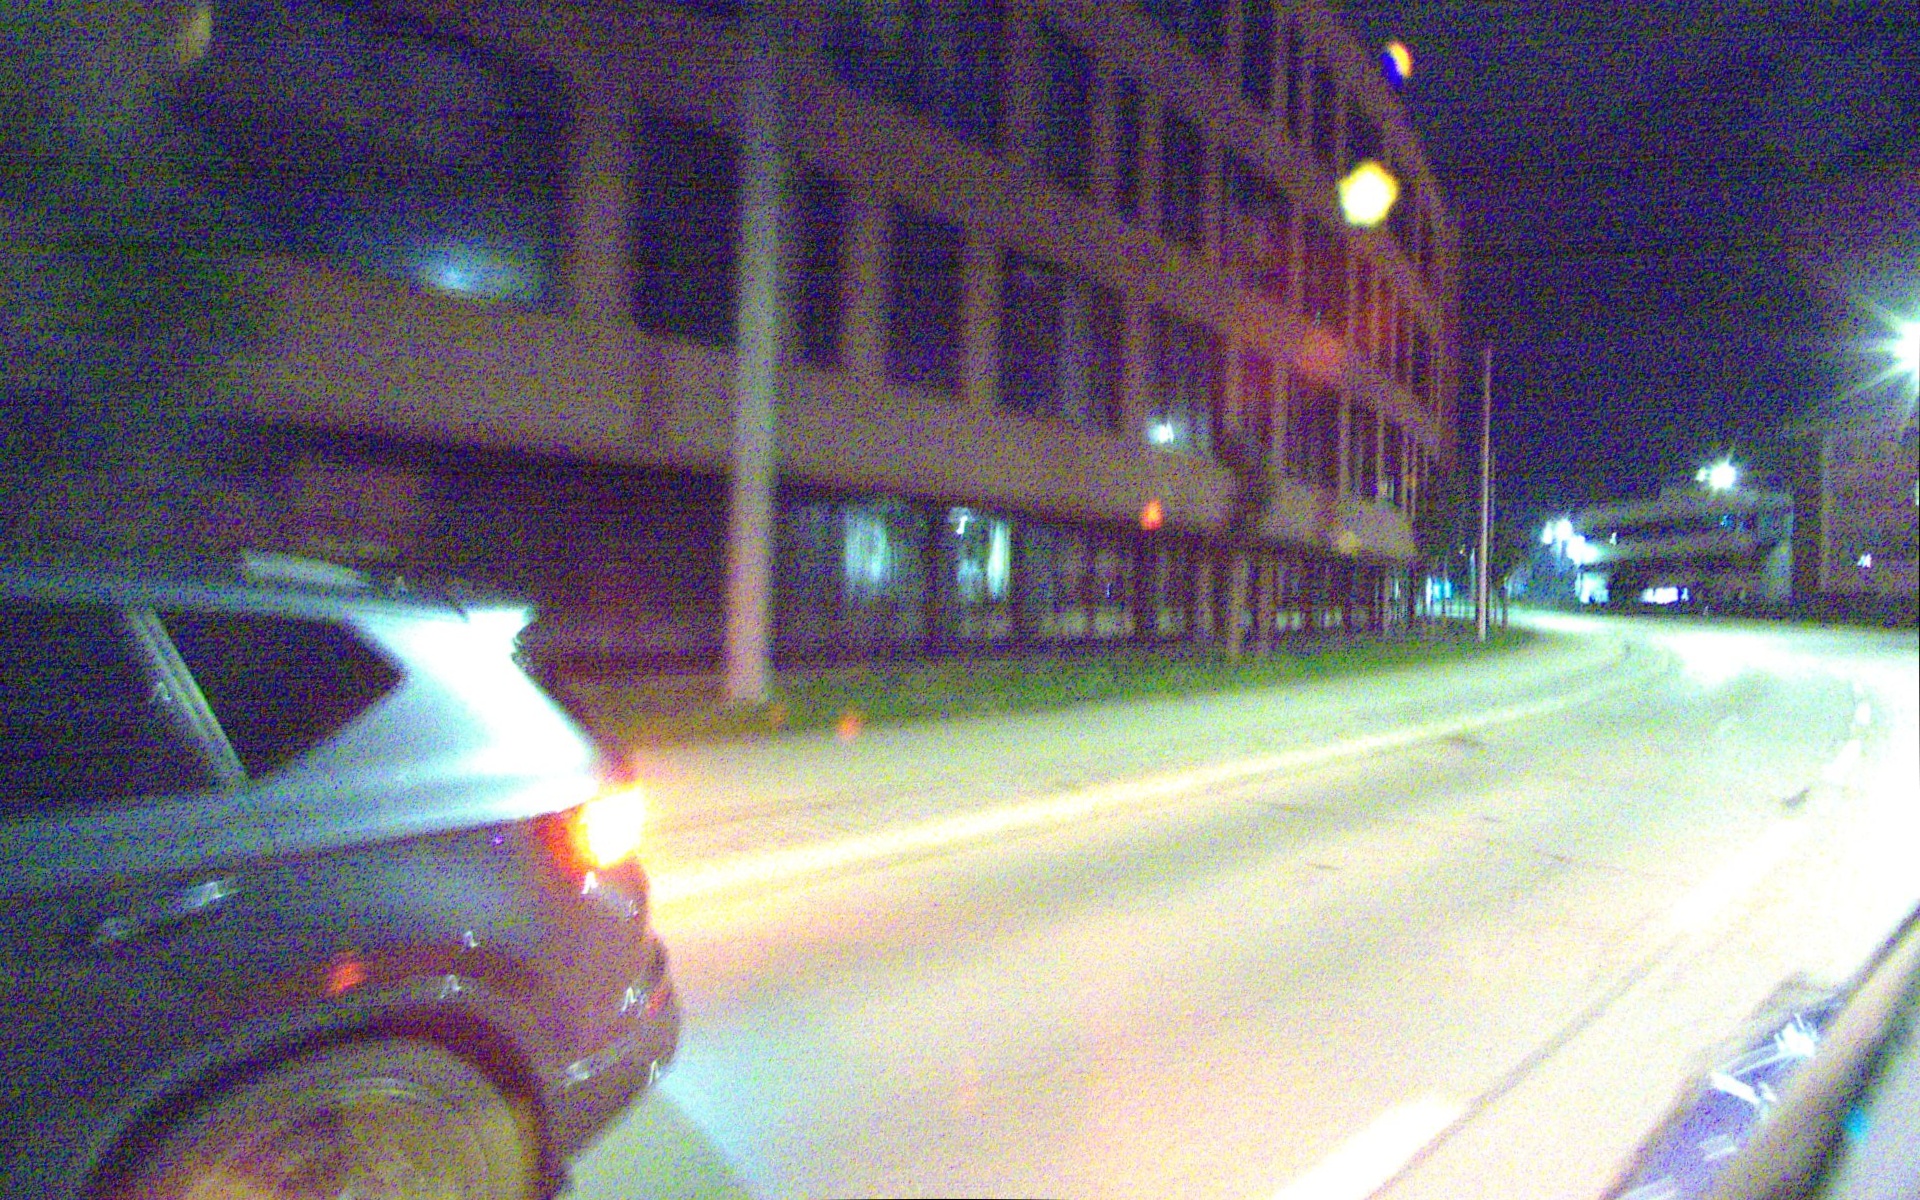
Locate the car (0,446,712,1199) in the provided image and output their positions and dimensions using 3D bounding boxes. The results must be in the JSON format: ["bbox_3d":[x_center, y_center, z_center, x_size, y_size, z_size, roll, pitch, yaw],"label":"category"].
[{"bbox_3d":[-2.653,0.605,1.487,4.156,1.631,1.673,-1,0,-41],"label":"car"}]
